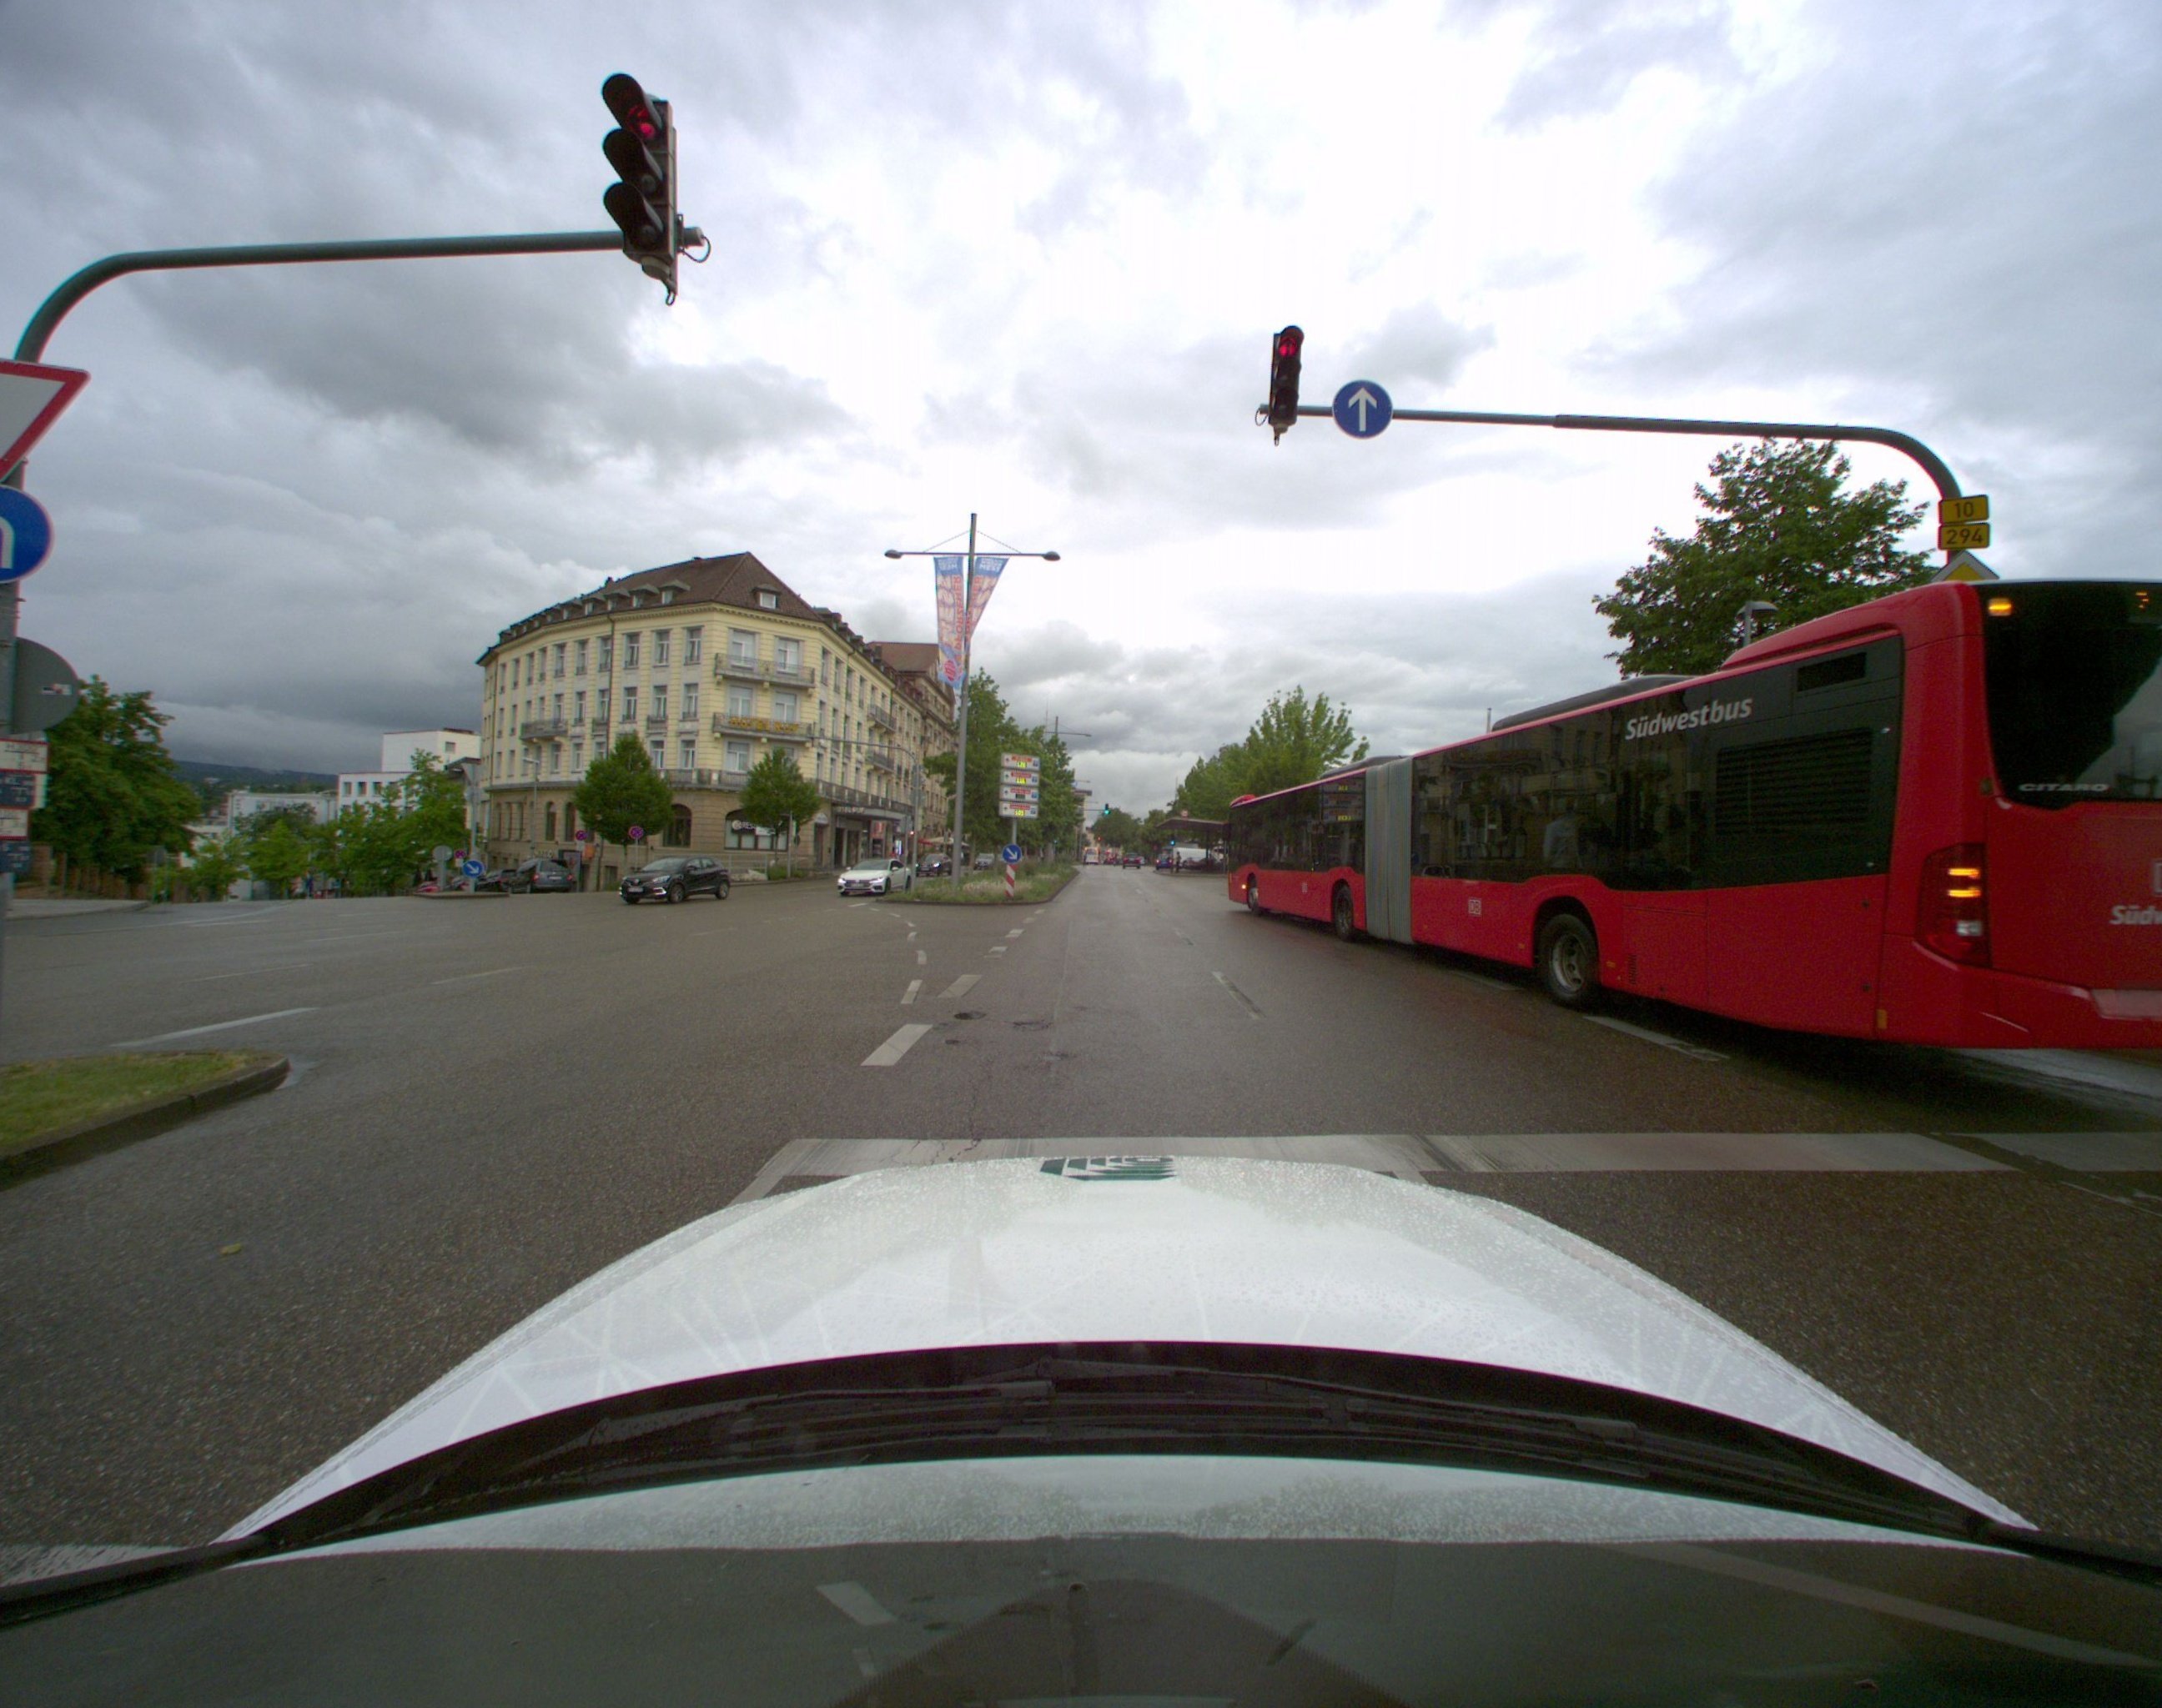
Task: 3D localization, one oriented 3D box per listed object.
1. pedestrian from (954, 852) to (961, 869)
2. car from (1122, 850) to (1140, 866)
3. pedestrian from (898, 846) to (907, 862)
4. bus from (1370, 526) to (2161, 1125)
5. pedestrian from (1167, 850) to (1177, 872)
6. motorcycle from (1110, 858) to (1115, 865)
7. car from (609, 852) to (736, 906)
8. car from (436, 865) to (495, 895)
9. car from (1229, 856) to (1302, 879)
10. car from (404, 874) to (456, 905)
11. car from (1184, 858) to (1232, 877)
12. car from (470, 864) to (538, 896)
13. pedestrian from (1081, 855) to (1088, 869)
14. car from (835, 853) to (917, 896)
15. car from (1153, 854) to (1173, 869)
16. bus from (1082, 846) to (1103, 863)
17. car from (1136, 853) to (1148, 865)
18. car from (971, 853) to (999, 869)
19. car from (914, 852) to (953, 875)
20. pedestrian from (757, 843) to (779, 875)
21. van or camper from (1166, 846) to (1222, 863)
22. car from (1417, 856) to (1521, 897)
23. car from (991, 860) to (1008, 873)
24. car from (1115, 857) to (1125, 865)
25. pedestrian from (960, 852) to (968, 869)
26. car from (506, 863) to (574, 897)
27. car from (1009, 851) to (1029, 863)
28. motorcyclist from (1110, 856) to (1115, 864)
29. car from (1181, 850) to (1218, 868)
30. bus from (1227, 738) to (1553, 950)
[{"bbox_3d":[-12.320,0.621,81.100,0.573,1.732,0.609,0,0,1],"label":"pedestrian"},{"bbox_3d":[5.830,0.431,94.932,1.986,1.806,4.691,0,0,2],"label":"car"},{"bbox_3d":[-16.373,0.015,74.801,0.666,1.510,0.513,0,-1,-36],"label":"pedestrian"},{"bbox_3d":[5.888,-0.146,8.434,2.735,3.174,8.114,0,0,-2],"label":"bus"},{"bbox_3d":[7.433,0.606,66.589,0.717,1.791,0.663,0,0,-10],"label":"pedestrian"},{"bbox_3d":[4.825,1.106,124.193,0.763,1.077,2.176,0,0,2],"label":"motorcycle"},{"bbox_3d":[-13.634,0.777,27.490,1.761,1.530,4.089,0,2,8],"label":"car"},{"bbox_3d":[-36.305,1.488,48.022,3.864,1.640,1.805,0,0,37],"label":"car"},{"bbox_3d":[11.494,0.795,50.926,1.788,1.385,4.318,0,0,-39],"label":"car"},{"bbox_3d":[-41.180,2.204,51.483,3.575,1.812,1.788,0,0,38],"label":"car"},{"bbox_3d":[12.834,1.397,82.121,4.348,1.857,1.988,0,0,-18],"label":"car"},{"bbox_3d":[-31.963,1.412,45.099,3.948,1.640,2.013,-1,-1,37],"label":"car"},{"bbox_3d":[0.463,0.946,101.227,0.754,1.701,0.561,0,0,8],"label":"pedestrian"},{"bbox_3d":[-8.102,0.757,32.665,1.717,1.381,4.865,-1,2,4],"label":"car"},{"bbox_3d":[8.572,0.767,85.359,1.809,1.530,4.001,0,0,2],"label":"car"},{"bbox_3d":[2.212,0.090,155.610,3.747,3.209,15.529,0,0,1],"label":"bus"},{"bbox_3d":[10.327,0.828,137.794,1.781,1.860,4.001,0,0,2],"label":"car"},{"bbox_3d":[-8.500,0.610,72.589,1.747,1.441,4.064,0,0,4],"label":"car"},{"bbox_3d":[-9.650,0.602,53.507,1.624,1.476,4.029,0,0,3],"label":"car"},{"bbox_3d":[-18.552,0.322,48.329,0.860,1.878,1.023,0,0,1],"label":"pedestrian"},{"bbox_3d":[14.248,0.096,102.679,6.787,2.014,2.366,0,-1,-25],"label":"van or camper"},{"bbox_3d":[14.791,0.796,31.357,1.840,1.452,4.666,0,0,0],"label":"car"},{"bbox_3d":[-8.528,1.299,85.657,1.752,1.369,4.053,0,0,-5],"label":"car"},{"bbox_3d":[6.754,1.174,140.684,1.702,1.448,4.001,0,0,2],"label":"car"},{"bbox_3d":[-11.608,0.640,81.126,0.672,1.701,0.634,0,0,1],"label":"pedestrian"},{"bbox_3d":[-27.095,1.269,40.759,3.949,1.568,1.812,0,0,41],"label":"car"},{"bbox_3d":[-7.549,0.328,99.471,1.747,1.369,4.065,0,1,4],"label":"car"},{"bbox_3d":[4.822,0.901,124.194,0.761,1.331,0.867,0,0,2],"label":"motorcyclist"},{"bbox_3d":[14.038,0.595,96.488,3.998,2.014,1.988,0,0,-18],"label":"car"},{"bbox_3d":[5.557,-0.141,17.305,2.736,3.174,10.185,0,0,-2],"label":"bus"}]
